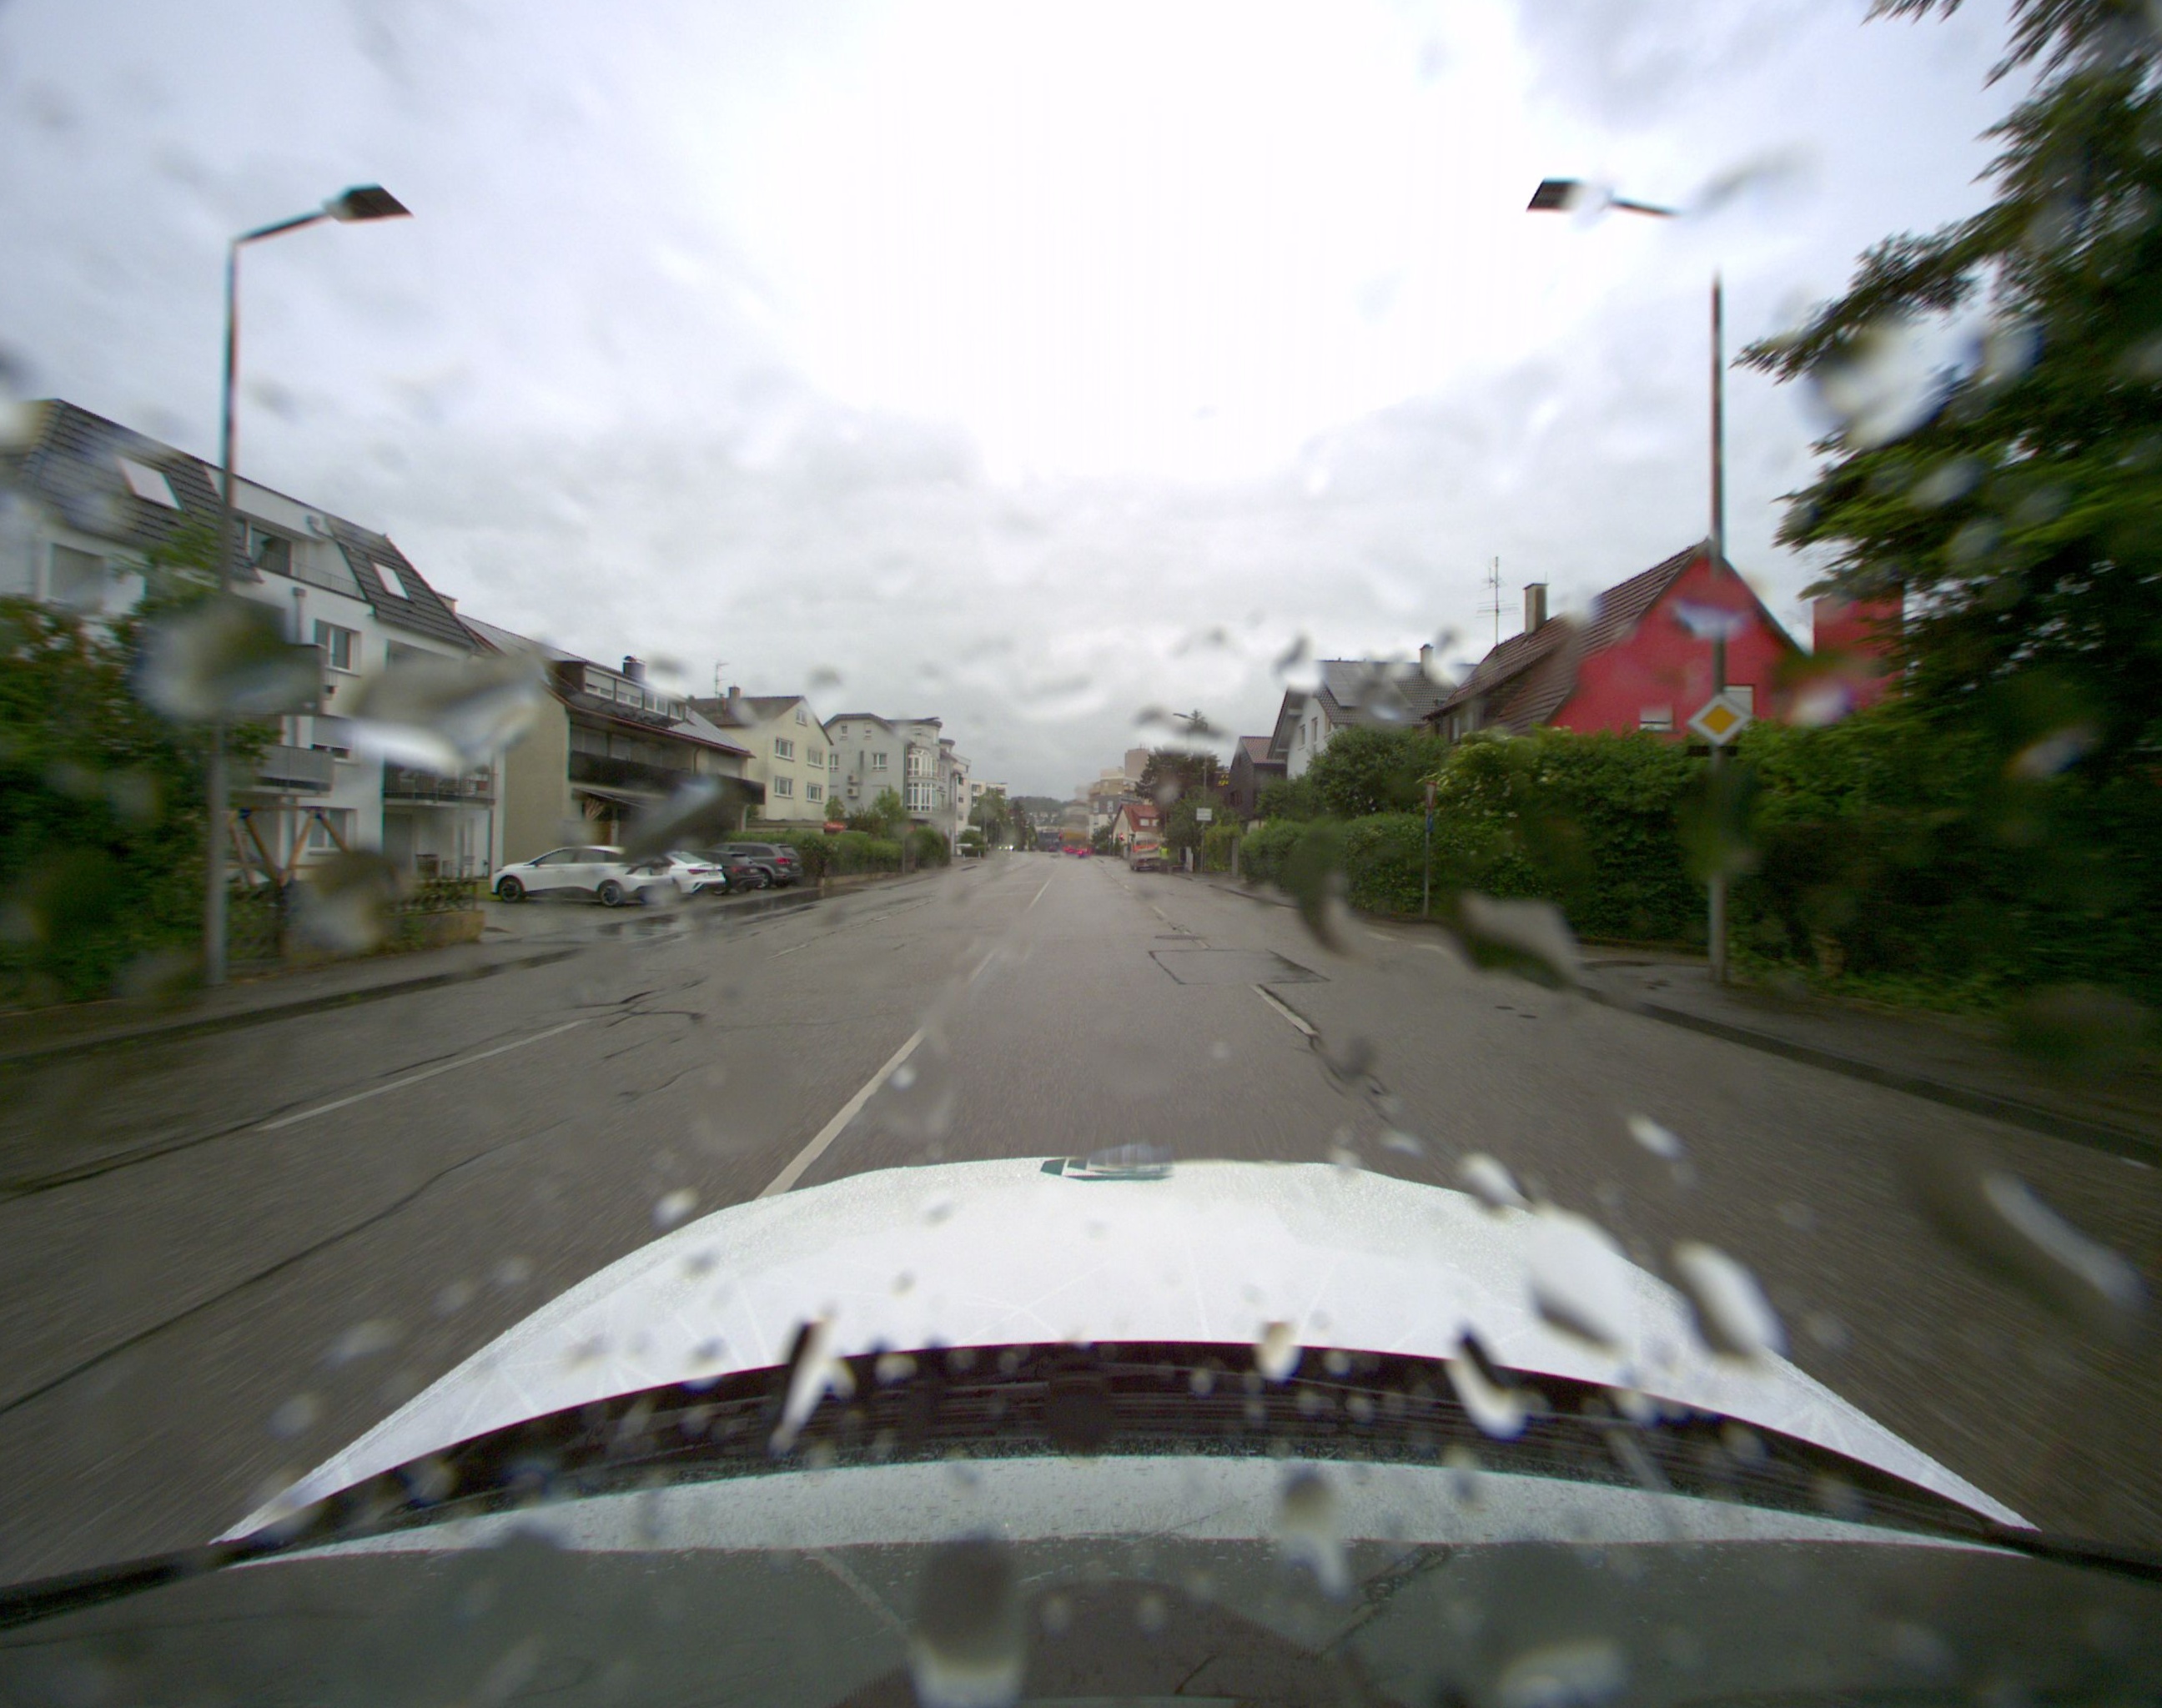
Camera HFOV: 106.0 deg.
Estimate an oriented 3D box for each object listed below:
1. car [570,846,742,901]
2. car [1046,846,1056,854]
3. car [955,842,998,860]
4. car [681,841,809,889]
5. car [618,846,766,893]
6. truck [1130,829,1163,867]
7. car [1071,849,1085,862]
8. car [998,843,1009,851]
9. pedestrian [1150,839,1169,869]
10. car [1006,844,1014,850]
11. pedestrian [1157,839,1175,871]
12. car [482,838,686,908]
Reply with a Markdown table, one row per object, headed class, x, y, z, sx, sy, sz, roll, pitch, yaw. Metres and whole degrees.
| class | x | y | z | sx | sy | sz | roll | pitch | yaw |
| --- | --- | --- | --- | --- | --- | --- | --- | --- | --- |
| car | -12.387 | 0.534 | 23.901 | 3.967 | 1.434 | 1.974 | 2 | 0 | 6 |
| car | -6.060 | -0.879 | 164.401 | 1.574 | 1.438 | 4.000 | 5 | -1 | 0 |
| car | -12.307 | -0.330 | 96.081 | 4.490 | 2.013 | 2.008 | 2 | 0 | 14 |
| car | -12.254 | 0.407 | 29.822 | 3.964 | 1.686 | 1.813 | 0 | -1 | 9 |
| car | -12.464 | 0.486 | 26.202 | 3.965 | 1.446 | 1.709 | 0 | -1 | 7 |
| truck | 4.133 | -0.388 | 51.699 | 1.985 | 2.303 | 4.004 | 0 | 0 | 4 |
| car | -0.368 | 0.131 | 107.189 | 1.787 | 1.669 | 4.002 | 0 | 0 | 2 |
| car | -15.661 | -1.449 | 164.809 | 1.654 | 1.463 | 4.000 | 5 | -1 | 0 |
| pedestrian | 4.611 | -0.009 | 47.908 | 0.825 | 1.726 | 0.836 | 0 | 0 | -18 |
| car | -15.029 | -1.440 | 172.494 | 1.433 | 1.235 | 4.000 | 2 | 0 | 0 |
| pedestrian | 4.899 | 0.063 | 47.019 | 0.825 | 1.797 | 0.795 | 0 | 0 | -18 |
| car | -12.837 | 0.474 | 21.192 | 4.079 | 1.585 | 1.959 | 2 | 0 | 4 |
